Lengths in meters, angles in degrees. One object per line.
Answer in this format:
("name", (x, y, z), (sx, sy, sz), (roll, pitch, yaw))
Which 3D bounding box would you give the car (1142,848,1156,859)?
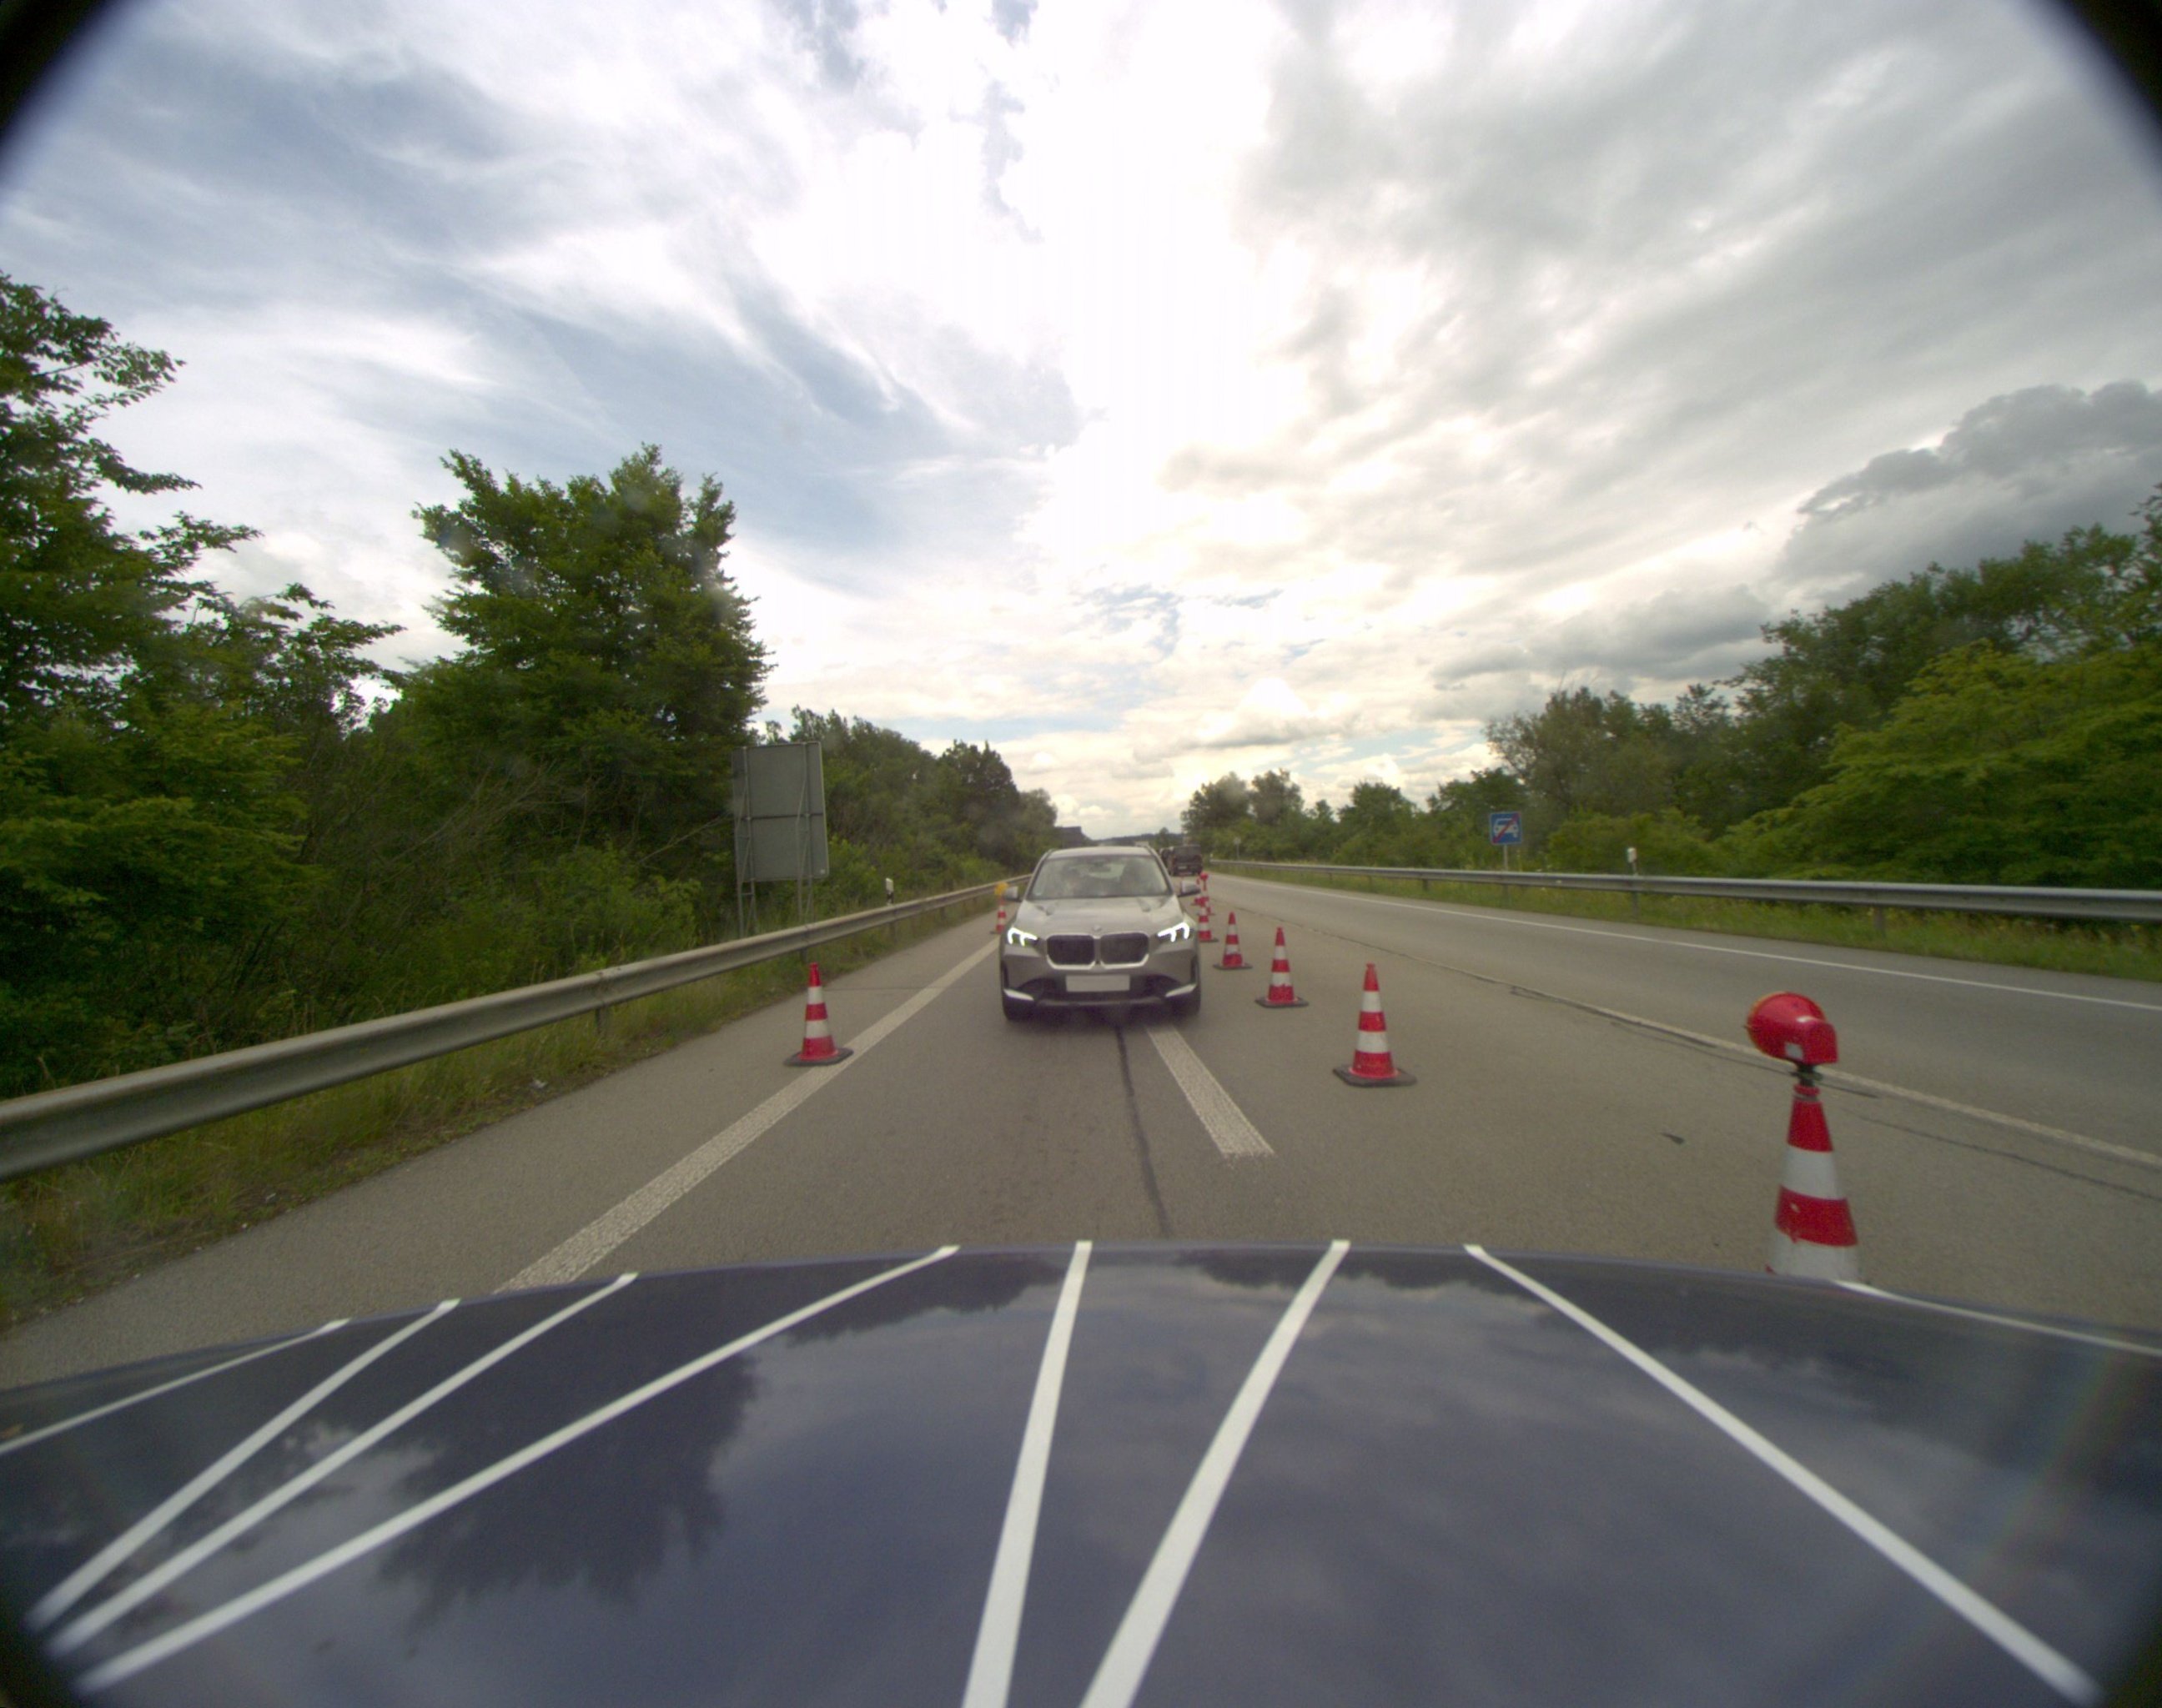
("car", (10.499, -0.099, 118.265), (1.929, 1.597, 4.533), (-2, 0, 3))

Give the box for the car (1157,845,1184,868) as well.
("car", (7.684, 0.208, 65.397), (1.971, 1.873, 4.533), (-2, 0, 3))

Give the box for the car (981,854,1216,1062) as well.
("car", (0.244, 0.836, 8.286), (1.817, 1.598, 4.434), (-2, 0, 3))

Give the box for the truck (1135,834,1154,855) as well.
("truck", (12.016, -1.717, 144.125), (3.113, 3.682, 9.544), (-2, 0, 2))

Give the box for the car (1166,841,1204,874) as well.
("car", (6.761, 0.188, 49.735), (2.033, 1.976, 5.317), (-2, 0, 4))

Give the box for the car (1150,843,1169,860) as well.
("car", (9.248, -0.298, 89.489), (1.929, 1.820, 4.533), (-2, 0, 3))
